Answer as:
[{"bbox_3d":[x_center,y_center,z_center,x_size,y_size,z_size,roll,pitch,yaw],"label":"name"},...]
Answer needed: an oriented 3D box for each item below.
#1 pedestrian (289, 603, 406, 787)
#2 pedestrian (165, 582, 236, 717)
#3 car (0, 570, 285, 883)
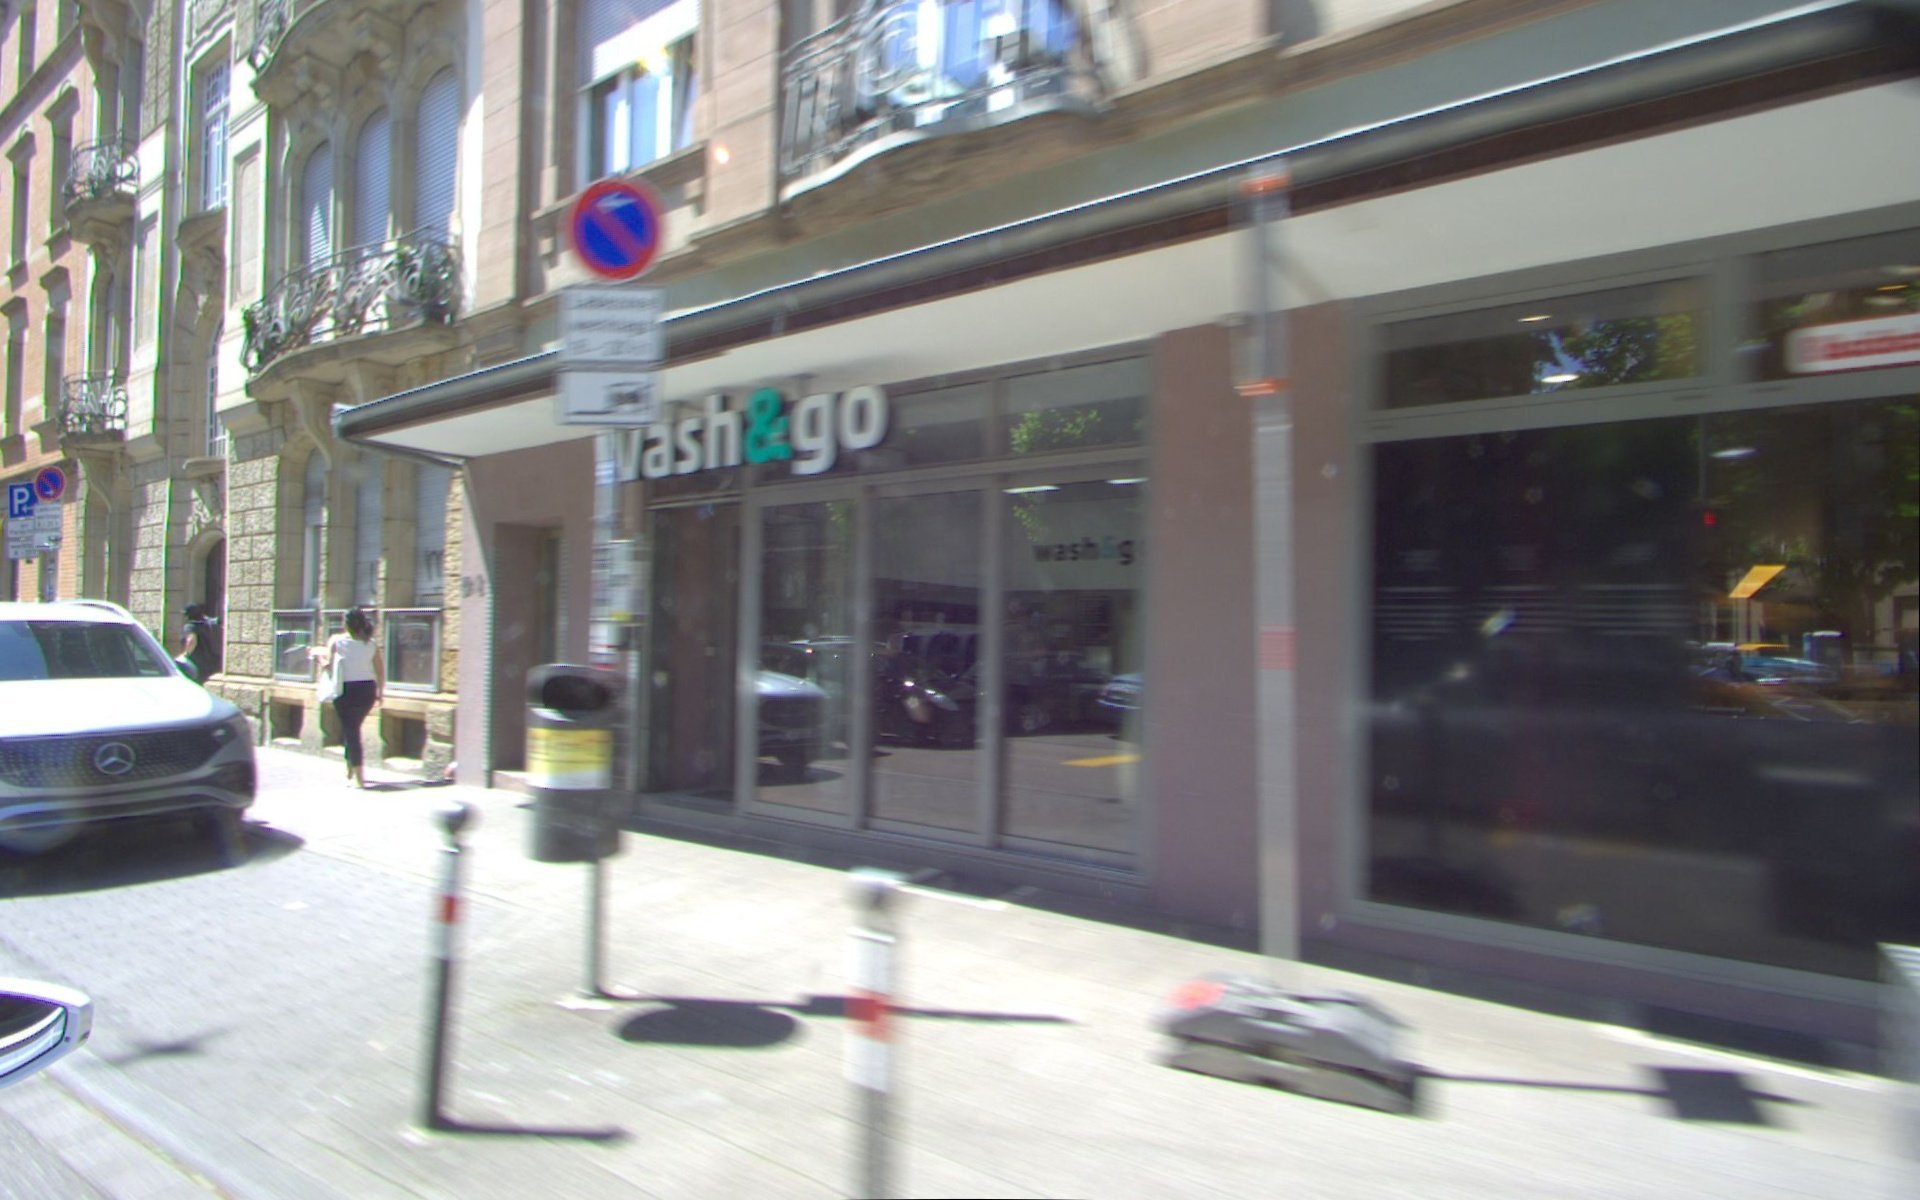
[{"bbox_3d":[-5.785,0.864,9.462,0.793,1.644,0.639,0,-2,36],"label":"pedestrian"},{"bbox_3d":[-10.252,0.648,13.517,0.738,1.773,0.512,1,0,29],"label":"pedestrian"},{"bbox_3d":[-6.838,0.736,7.268,4.445,1.735,1.865,-1,-1,37],"label":"car"}]
